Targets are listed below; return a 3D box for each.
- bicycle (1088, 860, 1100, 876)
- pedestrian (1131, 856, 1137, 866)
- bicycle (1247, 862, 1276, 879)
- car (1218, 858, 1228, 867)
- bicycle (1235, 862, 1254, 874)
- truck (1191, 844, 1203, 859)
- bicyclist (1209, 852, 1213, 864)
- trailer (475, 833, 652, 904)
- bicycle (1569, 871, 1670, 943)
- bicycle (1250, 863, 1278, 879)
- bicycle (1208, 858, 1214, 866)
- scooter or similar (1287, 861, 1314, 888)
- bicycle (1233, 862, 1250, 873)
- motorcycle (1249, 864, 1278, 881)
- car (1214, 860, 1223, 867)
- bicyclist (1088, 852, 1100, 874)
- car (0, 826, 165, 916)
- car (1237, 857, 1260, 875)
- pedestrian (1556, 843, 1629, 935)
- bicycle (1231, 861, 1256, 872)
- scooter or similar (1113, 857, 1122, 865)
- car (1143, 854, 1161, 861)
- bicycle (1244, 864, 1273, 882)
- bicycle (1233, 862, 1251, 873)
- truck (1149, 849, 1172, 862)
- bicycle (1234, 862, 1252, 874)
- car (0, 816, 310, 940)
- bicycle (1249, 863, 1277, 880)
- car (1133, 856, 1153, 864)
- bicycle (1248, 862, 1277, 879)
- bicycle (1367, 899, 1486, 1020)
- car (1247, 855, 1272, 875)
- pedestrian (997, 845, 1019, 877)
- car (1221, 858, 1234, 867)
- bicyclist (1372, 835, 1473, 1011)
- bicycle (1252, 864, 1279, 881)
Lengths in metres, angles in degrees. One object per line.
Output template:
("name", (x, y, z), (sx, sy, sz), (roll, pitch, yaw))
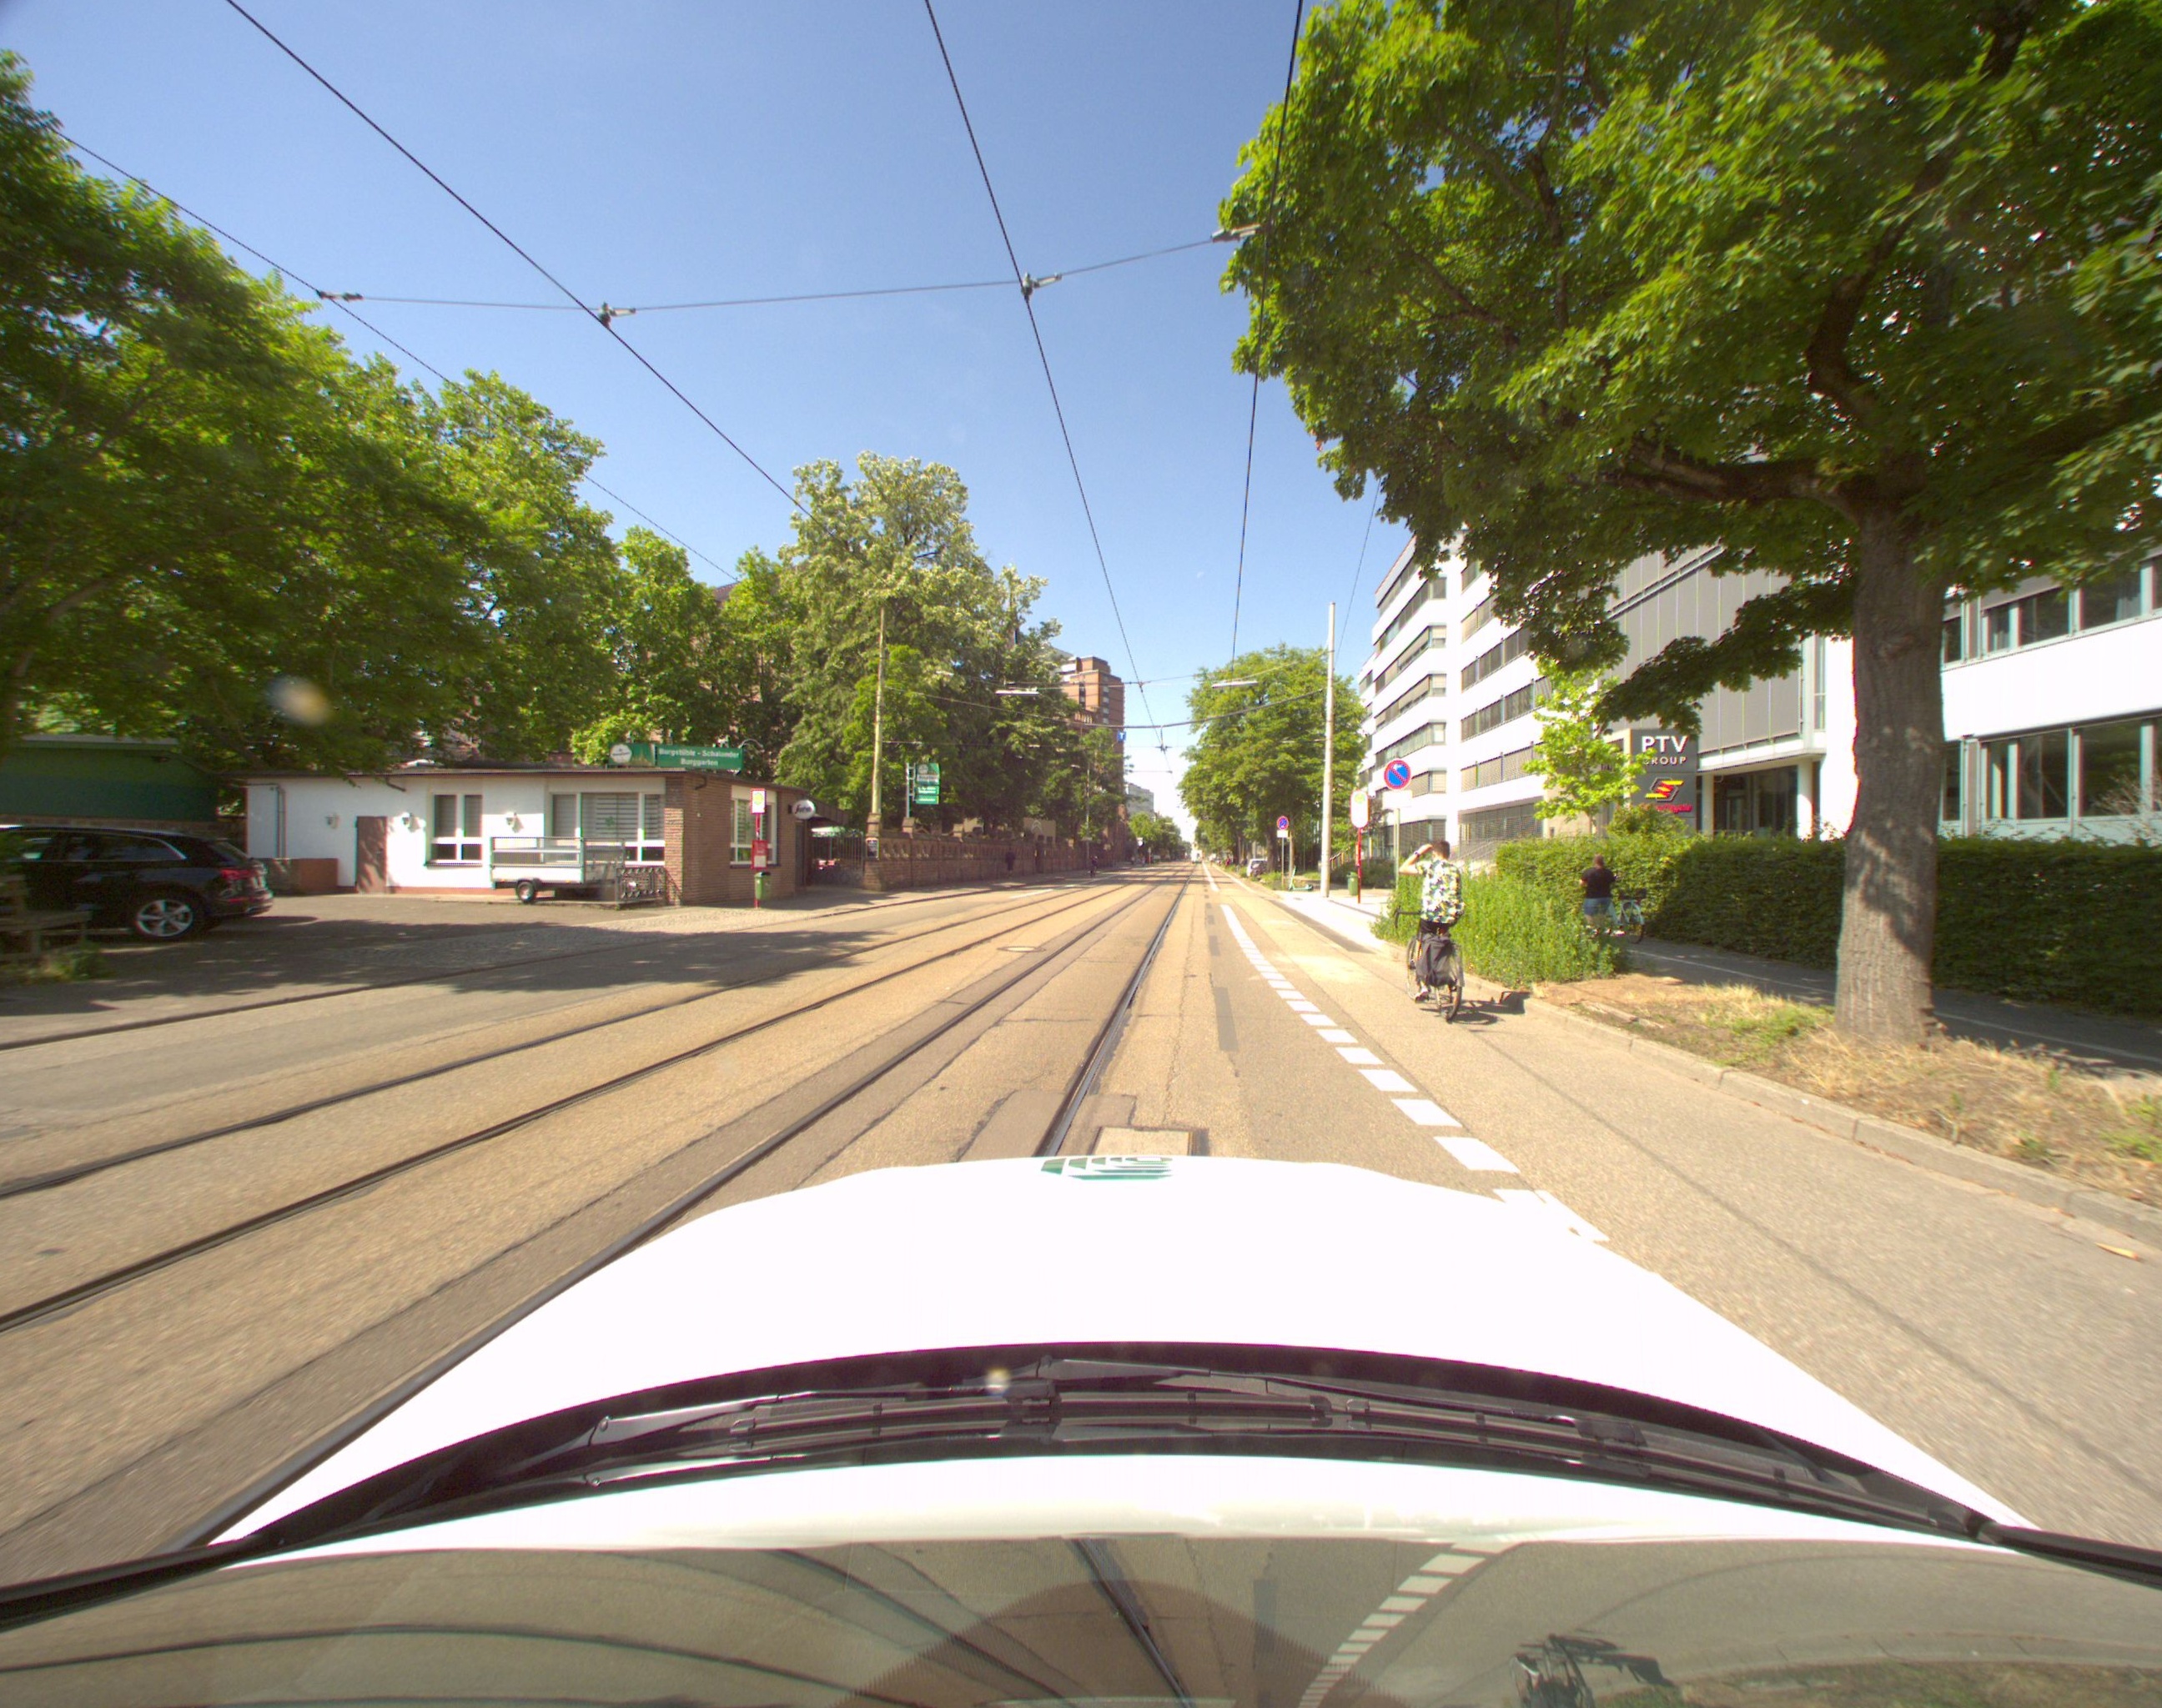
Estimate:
("bicycle", (0.960, 1.012, 59.300), (0.588, 1.105, 2.059), (1, 0, 9))
("pedestrian", (8.607, 1.160, 132.794), (0.880, 1.512, 1.475), (0, -1, 0))
("bicycle", (12.494, 1.131, 56.338), (1.893, 1.169, 0.821), (0, 0, 7))
("car", (24.771, 1.523, 142.166), (1.620, 1.472, 4.123), (0, 0, 8))
("bicycle", (15.843, 1.361, 78.981), (1.715, 1.086, 0.571), (0, 0, 7))
("truck", (24.903, -0.474, 175.120), (2.389, 3.108, 6.051), (1, 0, 8))
("bicyclist", (19.828, 0.647, 124.262), (0.632, 1.871, 1.026), (0, 0, 8))
("trailer", (-12.517, 0.326, 19.792), (3.254, 1.603, 1.728), (1, 0, 9))
("bicycle", (9.357, 0.877, 14.260), (0.632, 1.117, 2.071), (1, 0, 7))
("bicycle", (12.241, 1.122, 54.497), (1.783, 1.086, 0.728), (0, 0, 7))
("bicycle", (19.768, 1.185, 124.071), (0.851, 1.110, 2.144), (1, 0, 8))
("scooter or similar", (9.819, 0.918, 36.396), (1.119, 1.166, 0.678), (0, 0, 10))
("bicycle", (15.898, 1.350, 80.697), (1.715, 1.086, 0.616), (0, 0, 7))
("motorcycle", (11.703, 1.176, 52.254), (1.715, 1.086, 0.660), (0, 0, 7))
("car", (27.038, 1.842, 159.952), (1.620, 1.472, 4.123), (0, 0, 8))
("bicyclist", (0.971, 0.660, 59.384), (0.736, 1.531, 0.950), (0, -1, 9))
("car", (-19.709, 0.278, 14.630), (4.019, 1.557, 1.826), (1, 0, -38))
("car", (14.765, 1.014, 72.133), (1.621, 1.483, 4.281), (0, 0, 6))
("pedestrian", (9.063, 0.601, 14.471), (0.683, 1.563, 0.989), (-1, 0, 4))
("bicycle", (20.262, 1.549, 101.609), (3.008, 1.332, 1.044), (0, -1, 11))
("scooter or similar", (4.733, 0.914, 105.524), (1.193, 1.129, 0.330), (1, -1, -43))
("car", (18.549, 0.816, 212.852), (4.003, 1.750, 1.985), (1, -1, -22))
("bicycle", (10.898, 1.183, 50.120), (1.715, 1.086, 0.791), (0, 0, 7))
("bicycle", (16.049, 1.358, 81.249), (1.715, 1.086, 0.479), (0, 0, 7))
("truck", (23.596, 0.426, 241.239), (2.786, 3.859, 10.062), (0, -1, 30))
("bicycle", (15.595, 1.334, 78.431), (1.715, 1.086, 0.698), (0, 0, 7))
("car", (-14.575, 0.313, 11.852), (4.682, 1.640, 1.997), (1, 0, -38))
("bicycle", (12.288, 1.195, 55.025), (1.839, 1.132, 0.682), (0, 0, 7))
("car", (13.649, 1.348, 180.004), (4.011, 1.810, 1.872), (1, -1, -29))
("bicycle", (12.396, 1.149, 55.697), (1.862, 1.141, 0.687), (0, 0, 7))
("bicycle", (3.566, 1.030, 8.598), (0.605, 0.984, 2.169), (1, 0, 8))
("car", (13.140, 0.790, 60.172), (1.620, 1.472, 3.640), (1, 0, 9))
("pedestrian", (-4.348, 0.429, 48.574), (0.971, 1.815, 1.187), (4, 0, 8))
("car", (21.680, 1.226, 120.654), (1.621, 1.355, 3.908), (0, 0, 6))
("bicyclist", (3.547, 0.675, 8.532), (0.712, 1.724, 0.990), (1, 0, 6))
("bicycle", (12.148, 1.191, 53.612), (1.715, 1.086, 0.641), (0, 0, 7))
